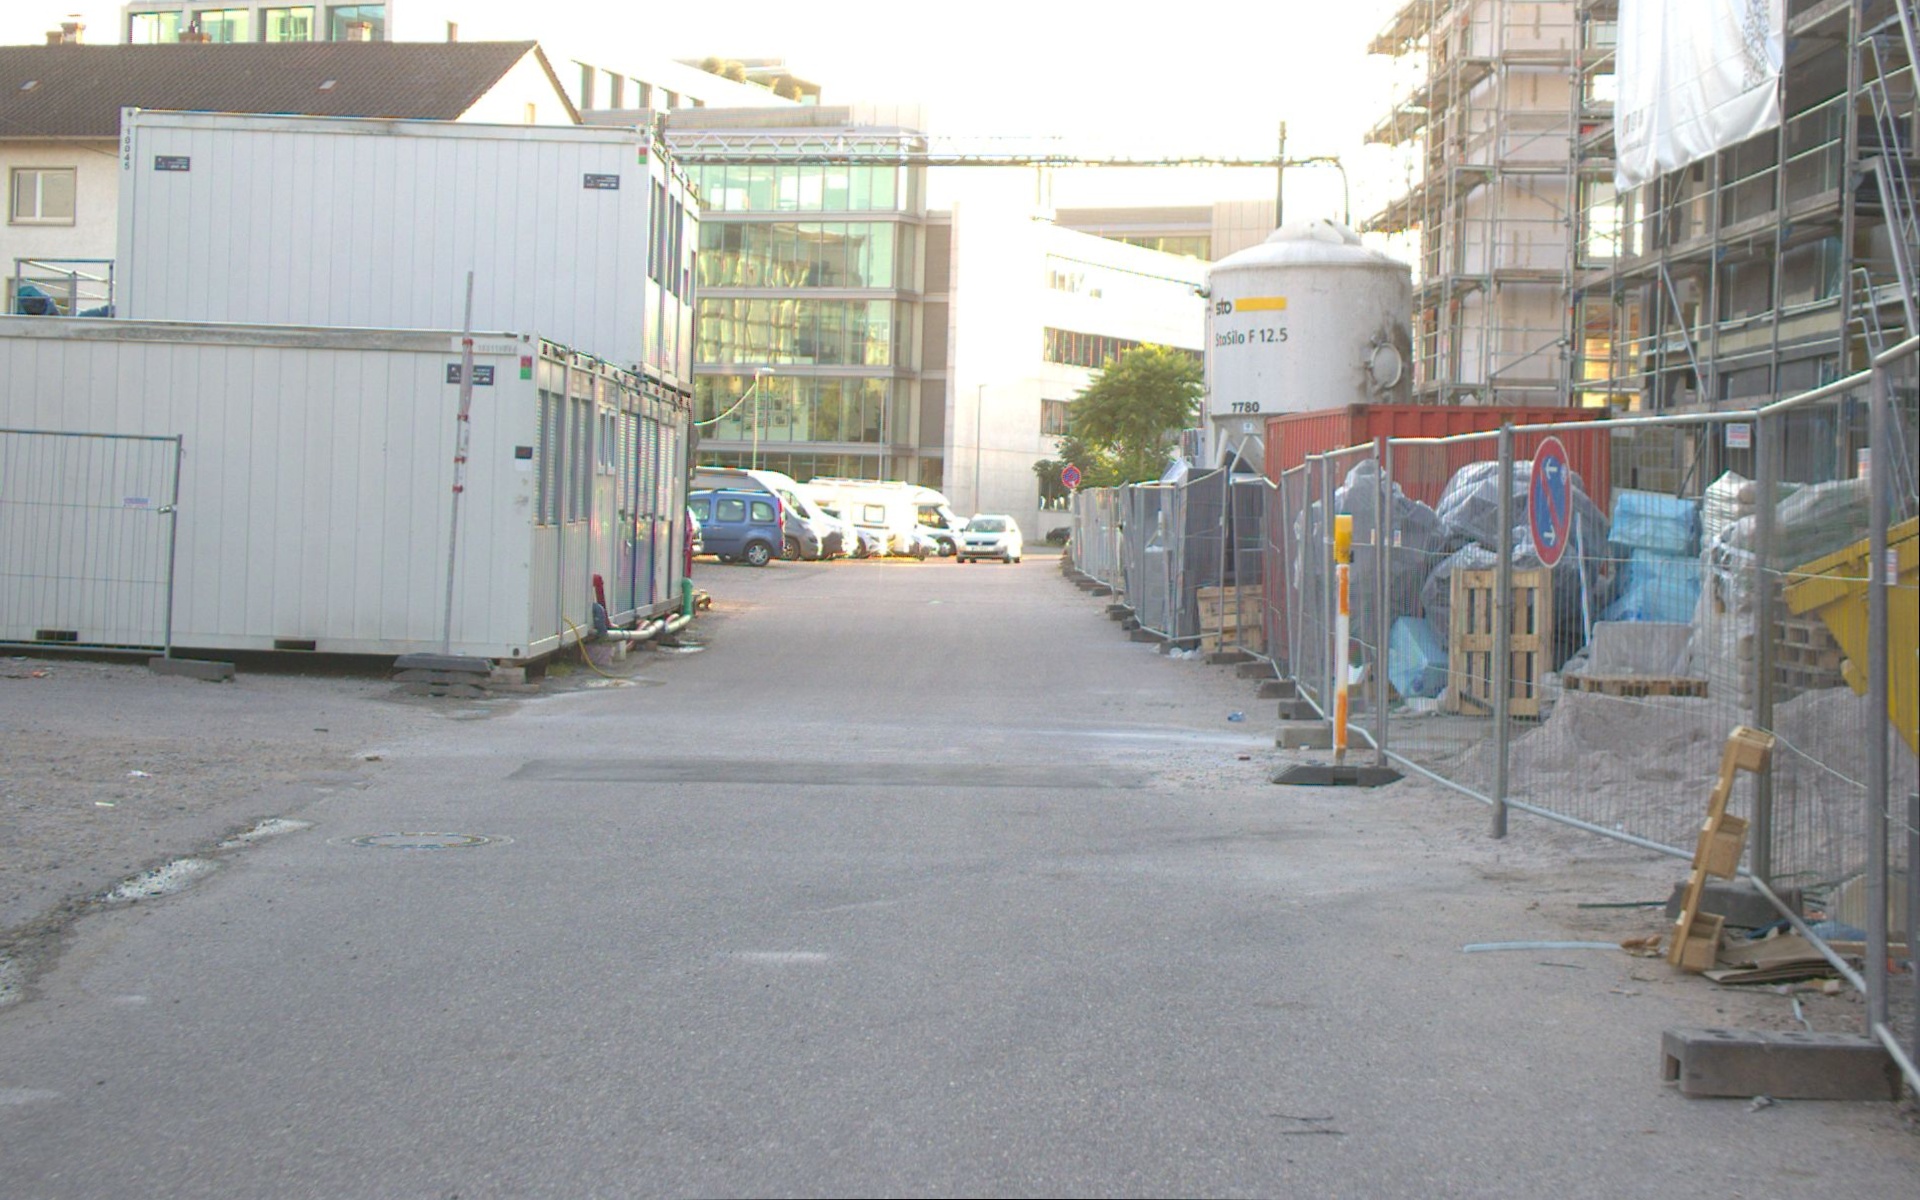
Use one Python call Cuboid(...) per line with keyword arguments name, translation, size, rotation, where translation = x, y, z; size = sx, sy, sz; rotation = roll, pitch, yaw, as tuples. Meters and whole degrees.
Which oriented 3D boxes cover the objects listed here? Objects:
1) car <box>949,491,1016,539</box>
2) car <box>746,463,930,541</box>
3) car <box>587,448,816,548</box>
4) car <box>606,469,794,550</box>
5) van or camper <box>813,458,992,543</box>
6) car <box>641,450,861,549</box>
Cuboid(name="car", translation=(0.760, -2.835, 114.271), size=(1.665, 1.523, 3.909), rotation=(2, 2, 8))
Cuboid(name="car", translation=(-4.166, -3.365, 117.684), size=(5.926, 2.481, 1.999), rotation=(2, 2, 12))
Cuboid(name="car", translation=(-7.383, -2.925, 98.571), size=(6.328, 2.642, 2.000), rotation=(2, 2, 1))
Cuboid(name="car", translation=(-6.411, -2.238, 84.684), size=(4.503, 1.862, 2.001), rotation=(1, 2, -5))
Cuboid(name="van or camper", translation=(-2.192, -3.786, 131.433), size=(6.336, 2.968, 2.291), rotation=(3, 1, 13))
Cuboid(name="car", translation=(-6.174, -2.989, 102.170), size=(6.328, 2.731, 2.000), rotation=(2, 2, 1))
